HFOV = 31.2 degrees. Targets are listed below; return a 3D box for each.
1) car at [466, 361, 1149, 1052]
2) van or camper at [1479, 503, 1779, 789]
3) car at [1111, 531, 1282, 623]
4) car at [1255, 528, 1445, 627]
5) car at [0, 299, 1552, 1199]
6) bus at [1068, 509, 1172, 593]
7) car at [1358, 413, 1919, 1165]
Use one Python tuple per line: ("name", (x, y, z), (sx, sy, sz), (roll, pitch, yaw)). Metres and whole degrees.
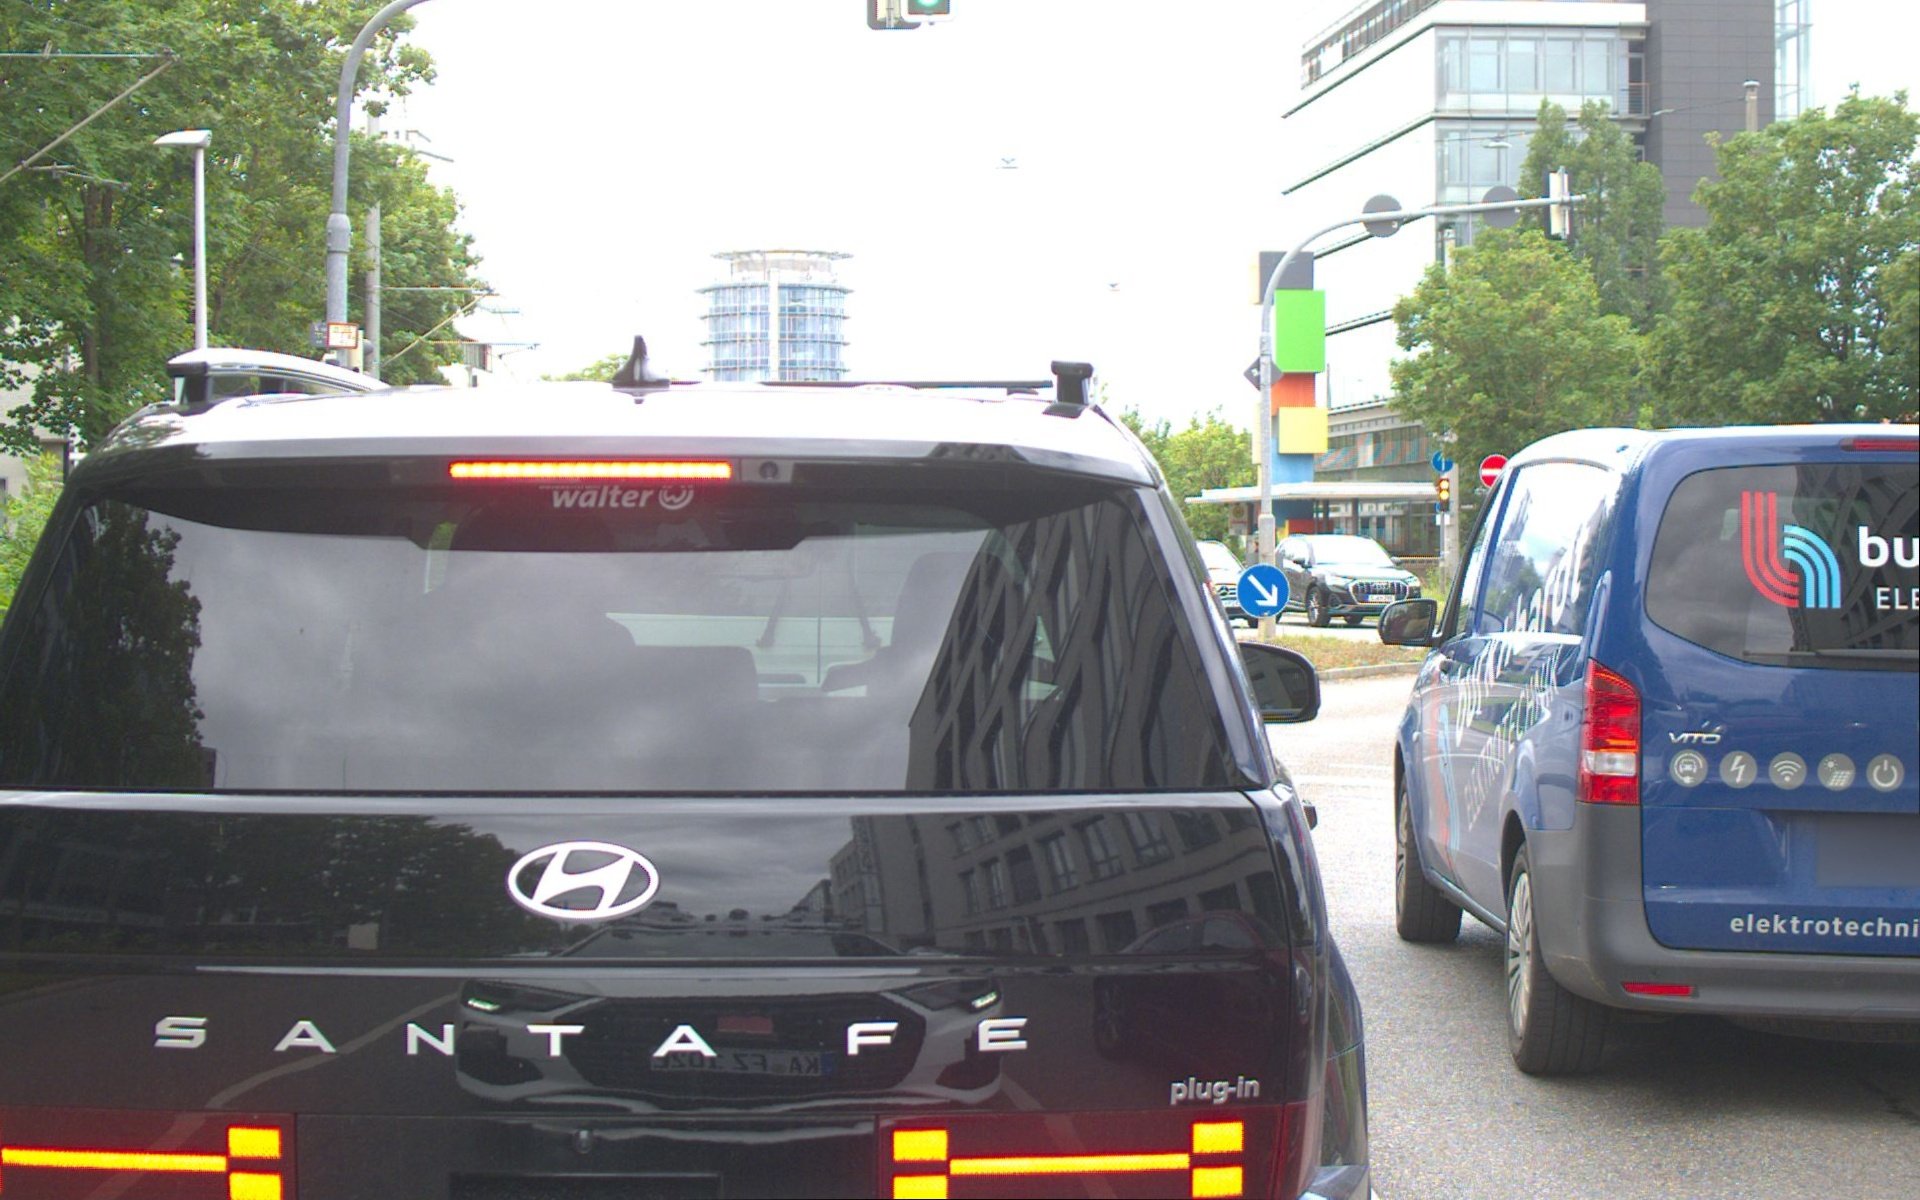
("car", (-0.328, 0.264, 12.371), (1.902, 1.962, 4.635), (2, 1, 4))
("van or camper", (4.941, 0.251, 25.890), (1.994, 1.911, 4.407), (1, 2, 9))
("car", (3.981, -0.420, 58.648), (1.782, 1.421, 4.397), (1, 2, -11))
("car", (6.750, -0.420, 59.992), (1.887, 1.559, 4.397), (1, 2, -13))
("car", (-0.403, 0.532, 5.694), (1.902, 1.725, 4.446), (2, 1, -1))
("bus", (6.139, -1.864, 133.242), (2.966, 3.106, 9.245), (-1, 0, -4))
("car", (2.503, 0.440, 10.921), (1.902, 1.852, 4.709), (2, 1, 0))
